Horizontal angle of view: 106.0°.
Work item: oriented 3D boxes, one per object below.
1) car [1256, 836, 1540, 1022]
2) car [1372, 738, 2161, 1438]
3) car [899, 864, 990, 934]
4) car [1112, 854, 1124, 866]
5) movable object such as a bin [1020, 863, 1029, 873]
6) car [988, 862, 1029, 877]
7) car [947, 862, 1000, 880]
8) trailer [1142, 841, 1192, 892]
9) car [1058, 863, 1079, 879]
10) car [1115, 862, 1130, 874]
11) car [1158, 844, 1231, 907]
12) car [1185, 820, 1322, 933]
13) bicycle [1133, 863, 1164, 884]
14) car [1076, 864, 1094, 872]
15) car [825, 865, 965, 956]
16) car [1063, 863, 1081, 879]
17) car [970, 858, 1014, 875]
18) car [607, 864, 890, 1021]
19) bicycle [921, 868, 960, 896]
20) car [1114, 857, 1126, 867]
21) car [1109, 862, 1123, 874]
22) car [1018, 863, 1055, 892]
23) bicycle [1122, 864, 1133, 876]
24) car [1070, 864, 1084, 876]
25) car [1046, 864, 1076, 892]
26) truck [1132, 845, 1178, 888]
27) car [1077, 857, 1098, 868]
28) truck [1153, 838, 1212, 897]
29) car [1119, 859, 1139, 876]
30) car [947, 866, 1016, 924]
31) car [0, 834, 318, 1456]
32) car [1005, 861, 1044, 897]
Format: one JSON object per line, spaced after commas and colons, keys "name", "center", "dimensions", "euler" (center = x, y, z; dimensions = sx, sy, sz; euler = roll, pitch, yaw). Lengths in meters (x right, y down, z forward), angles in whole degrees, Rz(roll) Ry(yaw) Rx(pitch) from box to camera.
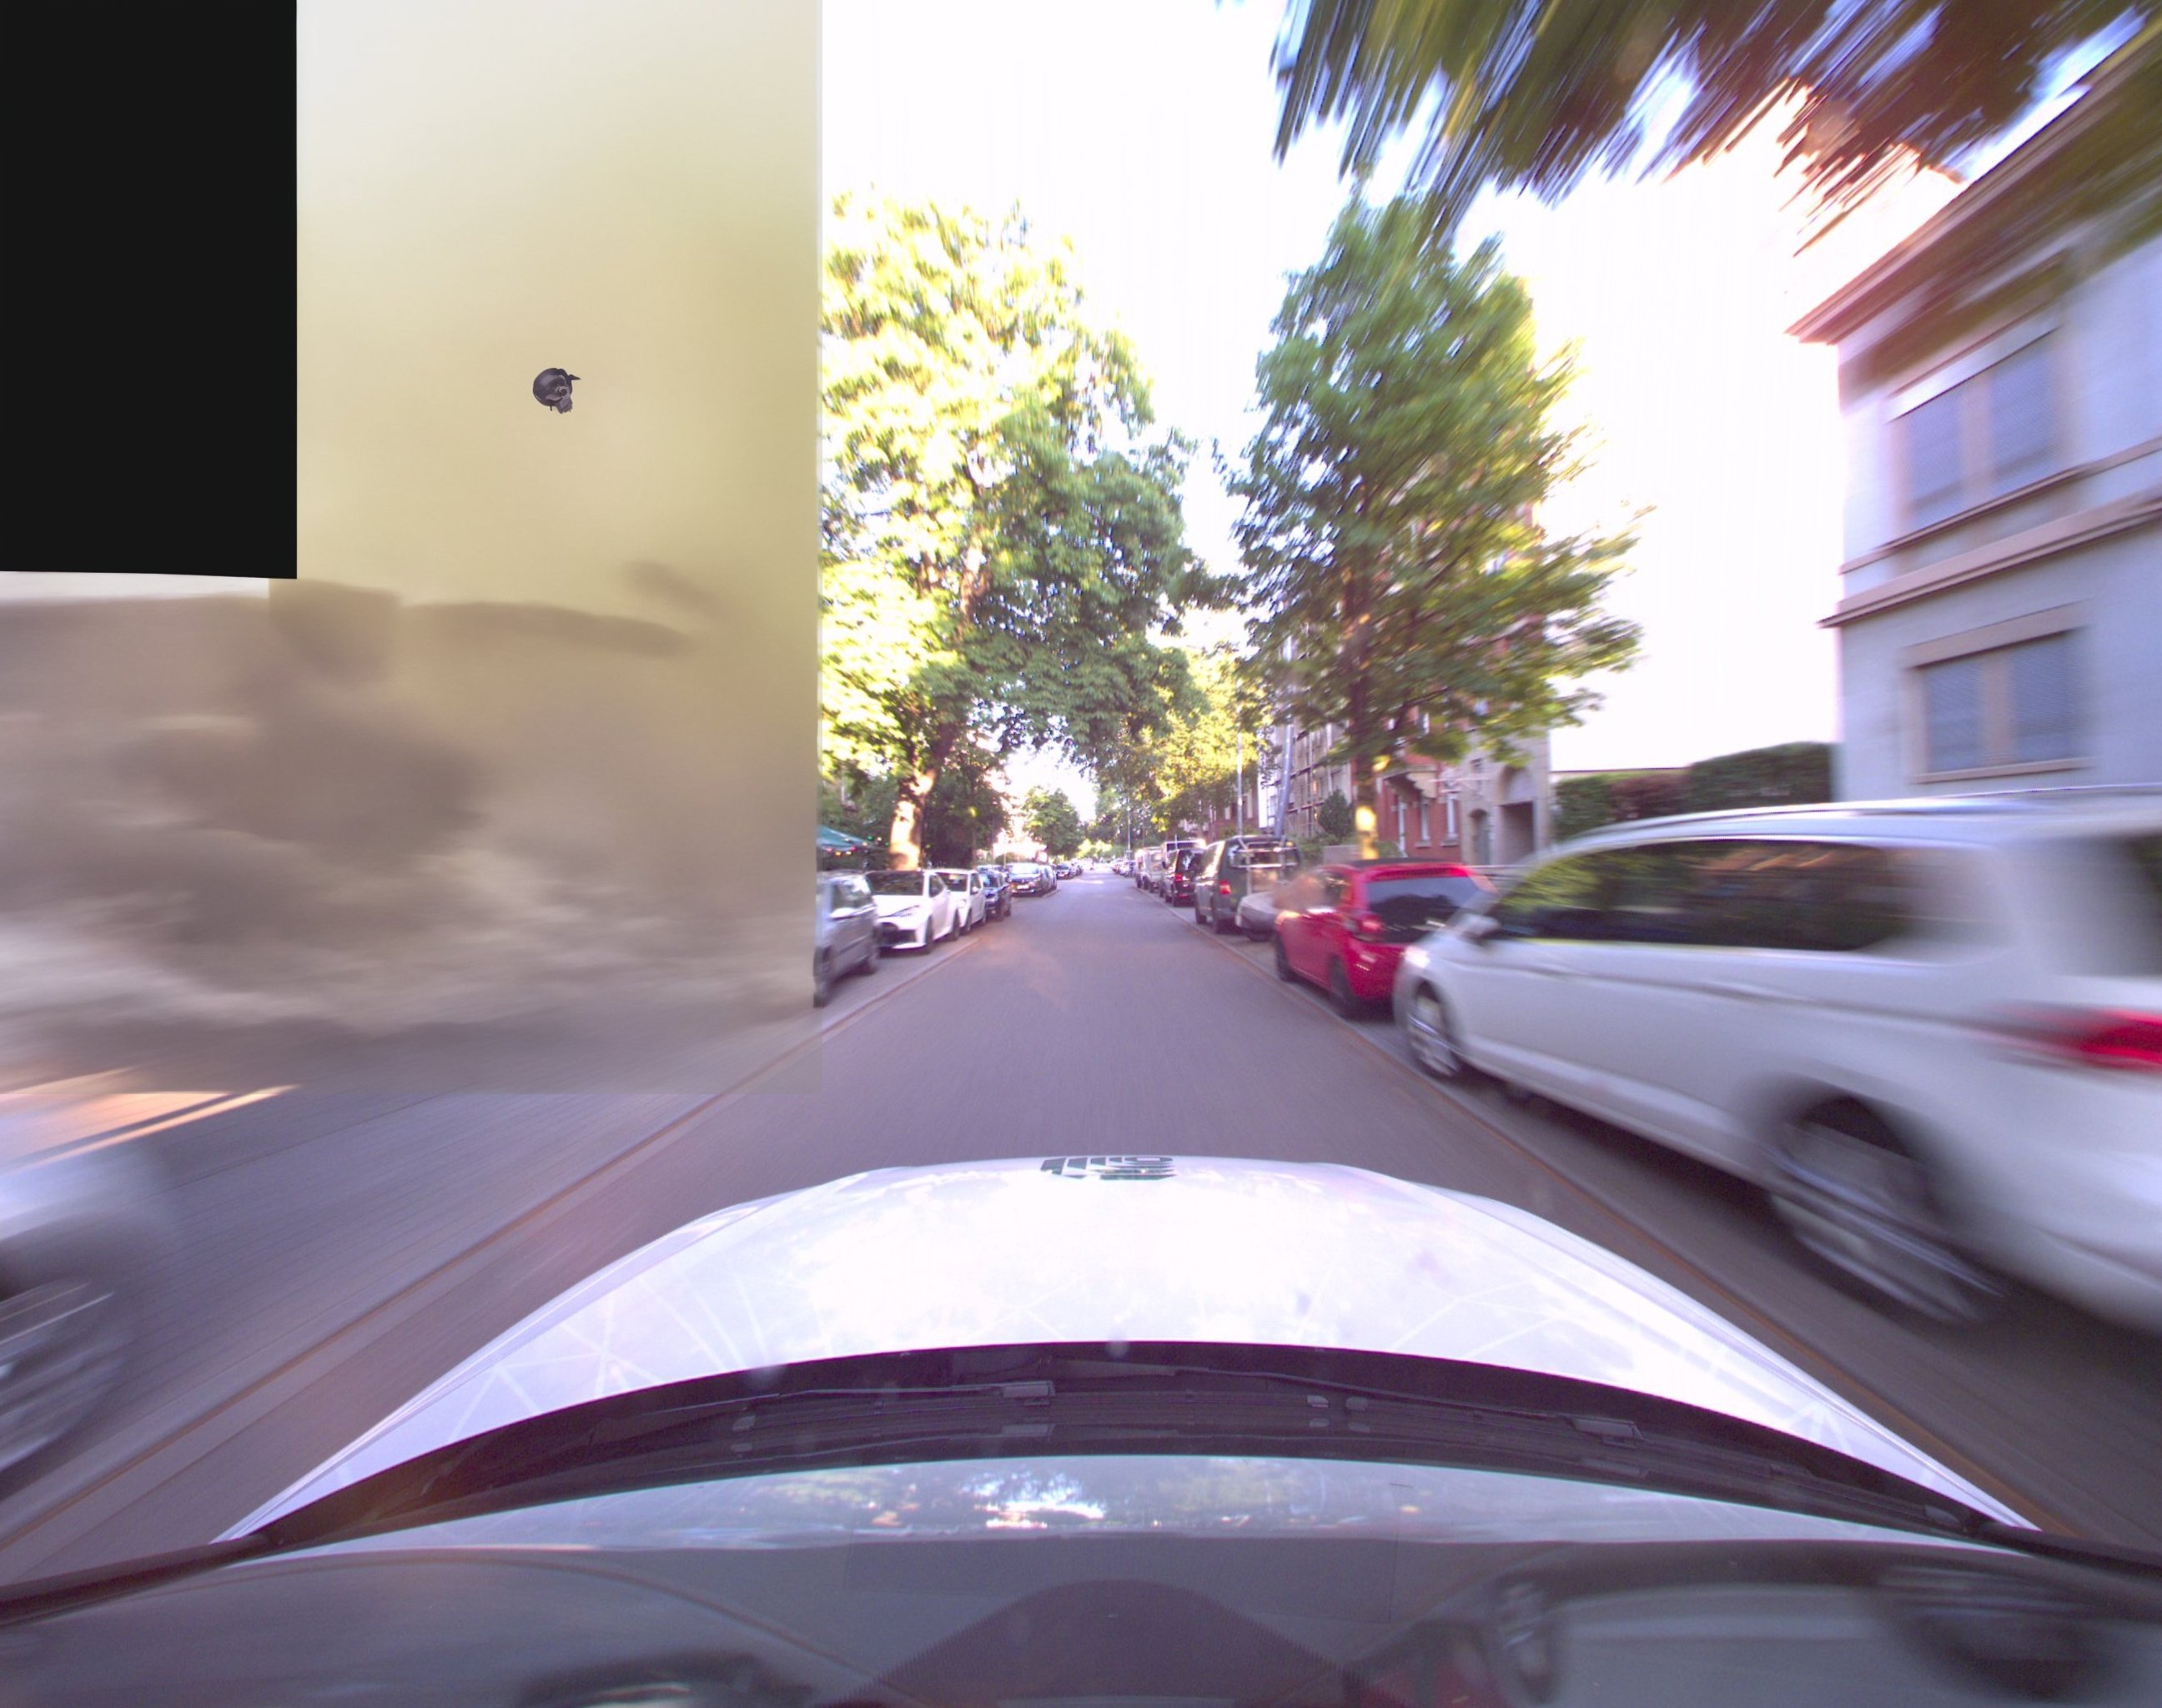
{"name": "car", "center": [3.143, 0.647, 8.901], "dimensions": [1.658, 1.500, 3.695], "euler": [-4, 0, 1]}
{"name": "car", "center": [3.200, 0.524, 4.023], "dimensions": [1.662, 1.678, 4.112], "euler": [-4, 0, -5]}
{"name": "car", "center": [-3.227, 1.026, 19.894], "dimensions": [1.546, 1.485, 3.693], "euler": [1, 0, 0]}
{"name": "car", "center": [6.046, 1.000, 134.063], "dimensions": [1.675, 1.941, 3.878], "euler": [-1, -1, -1]}
{"name": "movable object such as a bin", "center": [-7.056, 1.746, 102.120], "dimensions": [1.008, 1.321, 1.007], "euler": [1, 0, 6]}
{"name": "car", "center": [-7.677, 1.641, 86.295], "dimensions": [4.079, 1.527, 1.709], "euler": [2, -1, 0]}
{"name": "car", "center": [-9.073, 1.439, 69.034], "dimensions": [4.067, 1.447, 1.714], "euler": [-1, 0, 10]}
{"name": "trailer", "center": [4.202, 0.594, 40.575], "dimensions": [1.947, 2.295, 4.645], "euler": [-4, 0, 1]}
{"name": "car", "center": [-1.185, 1.669, 79.017], "dimensions": [1.609, 1.470, 3.965], "euler": [-1, 0, 4]}
{"name": "car", "center": [5.364, 1.810, 105.382], "dimensions": [1.681, 1.441, 4.210], "euler": [-3, -1, 1]}
{"name": "car", "center": [3.903, 0.694, 28.770], "dimensions": [1.833, 1.942, 4.613], "euler": [-4, 0, 0]}
{"name": "car", "center": [3.651, 0.434, 18.191], "dimensions": [1.948, 2.059, 4.830], "euler": [-4, 0, 0]}
{"name": "bicycle", "center": [4.409, 1.265, 53.220], "dimensions": [1.899, 1.258, 0.406], "euler": [-4, -1, -5]}
{"name": "car", "center": [0.849, 2.991, 173.593], "dimensions": [3.610, 1.461, 1.605], "euler": [-1, 0, -3]}
{"name": "car", "center": [-3.328, 0.956, 15.333], "dimensions": [1.597, 1.435, 3.887], "euler": [1, 0, 2]}
{"name": "car", "center": [-1.065, 1.961, 95.419], "dimensions": [1.914, 1.717, 4.428], "euler": [-1, 0, 1]}
{"name": "car", "center": [-8.081, 1.140, 74.173], "dimensions": [3.541, 1.447, 1.822], "euler": [-1, 0, 10]}
{"name": "car", "center": [-3.665, 0.877, 9.992], "dimensions": [1.836, 1.411, 4.593], "euler": [1, 0, -4]}
{"name": "bicycle", "center": [-6.793, 1.344, 39.547], "dimensions": [0.600, 1.285, 2.499], "euler": [-2, -1, 21]}
{"name": "car", "center": [6.225, 1.255, 130.130], "dimensions": [1.534, 1.521, 3.429], "euler": [-1, -1, -1]}
{"name": "car", "center": [4.852, 1.999, 113.619], "dimensions": [1.682, 1.606, 3.937], "euler": [-1, -1, -1]}
{"name": "car", "center": [-2.353, 1.249, 43.948], "dimensions": [1.683, 1.502, 4.403], "euler": [0, -1, 1]}
{"name": "bicycle", "center": [4.606, 1.593, 81.074], "dimensions": [0.439, 1.173, 1.646], "euler": [-1, -1, 26]}
{"name": "car", "center": [-0.508, 2.118, 107.550], "dimensions": [1.709, 1.566, 3.789], "euler": [-1, 0, 1]}
{"name": "car", "center": [-1.216, 1.401, 49.046], "dimensions": [1.685, 1.502, 4.733], "euler": [1, 0, -2]}
{"name": "truck", "center": [4.228, 0.745, 47.691], "dimensions": [1.971, 2.245, 6.773], "euler": [-2, -1, -1]}
{"name": "car", "center": [1.420, 1.783, 176.506], "dimensions": [4.336, 2.318, 1.745], "euler": [-1, -1, -1]}
{"name": "truck", "center": [4.308, 0.548, 35.165], "dimensions": [1.947, 2.246, 4.646], "euler": [-4, 0, 1]}
{"name": "car", "center": [5.310, 1.495, 90.080], "dimensions": [1.793, 1.711, 4.598], "euler": [-2, -1, -1]}
{"name": "car", "center": [-2.848, 1.128, 23.924], "dimensions": [1.546, 1.485, 3.693], "euler": [-2, 0, 0]}
{"name": "car", "center": [-3.419, 0.678, 0.860], "dimensions": [1.659, 1.493, 3.710], "euler": [1, 0, 0]}
{"name": "car", "center": [-2.640, 1.171, 39.029], "dimensions": [1.685, 1.563, 4.398], "euler": [1, 0, -2]}
